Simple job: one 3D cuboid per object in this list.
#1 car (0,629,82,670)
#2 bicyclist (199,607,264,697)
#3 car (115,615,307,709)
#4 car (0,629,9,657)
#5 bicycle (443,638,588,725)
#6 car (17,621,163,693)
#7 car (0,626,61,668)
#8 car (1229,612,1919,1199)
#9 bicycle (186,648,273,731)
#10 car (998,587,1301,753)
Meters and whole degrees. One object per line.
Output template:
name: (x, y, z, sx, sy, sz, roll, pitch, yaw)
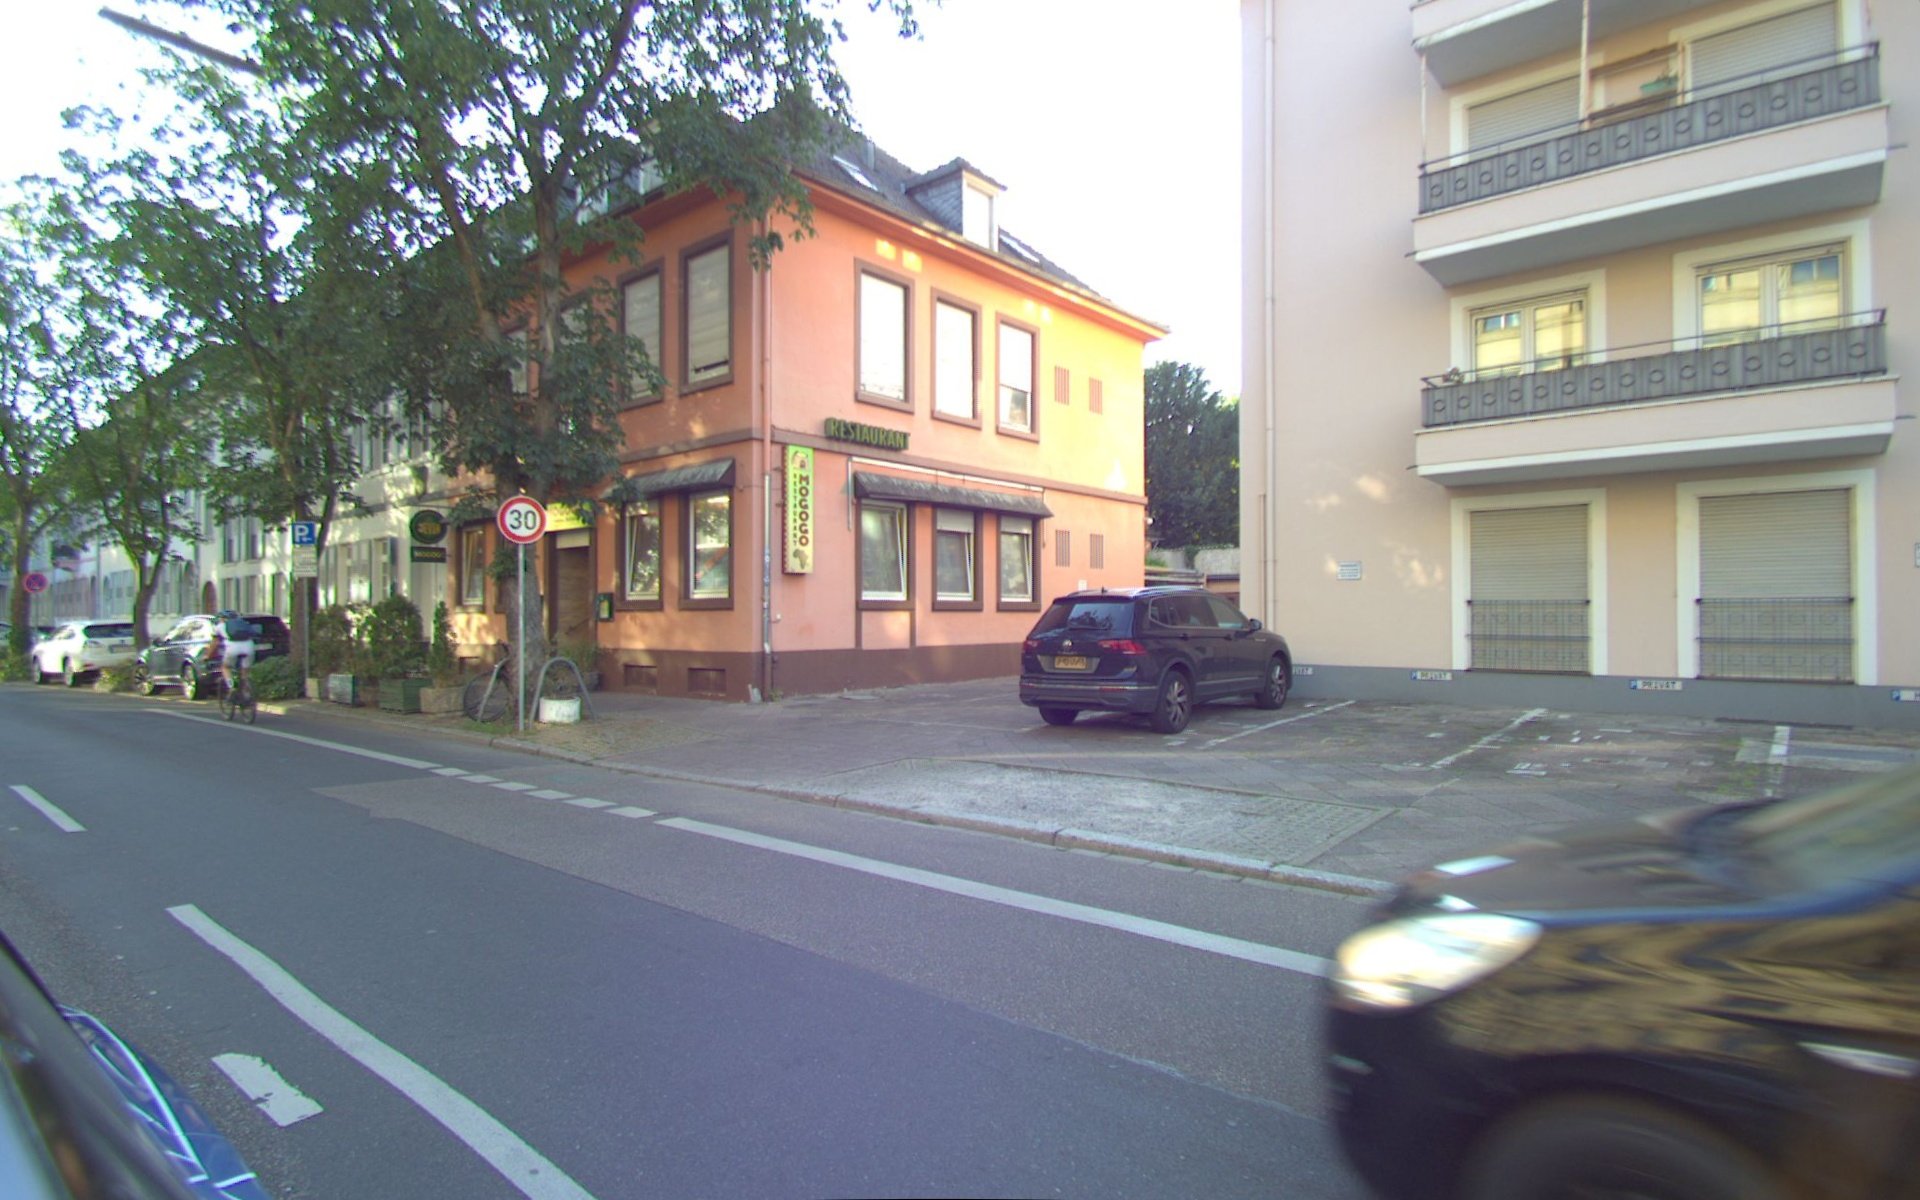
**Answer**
car: (-37.474, 1.939, 39.867, 1.801, 1.557, 4.172, -2, -2, 43)
bicyclist: (-11.594, 0.811, 16.112, 0.928, 1.374, 0.619, 0, -1, 40)
car: (-16.595, 1.290, 22.341, 5.036, 1.772, 1.813, -1, 2, 35)
car: (-53.312, 2.290, 53.509, 1.798, 1.519, 4.179, -1, -2, 38)
bicycle: (-6.283, 1.112, 14.397, 0.609, 1.112, 1.851, -1, -1, 34)
car: (-23.543, 1.485, 27.342, 4.645, 1.680, 1.813, -1, 2, 35)
car: (-39.743, 1.928, 41.418, 1.798, 1.703, 4.179, -1, -2, 38)
car: (2.599, 0.755, 1.640, 3.852, 1.483, 1.640, -3, -3, 42)
bicycle: (-11.683, 1.389, 16.167, 2.051, 1.164, 0.618, 0, 0, 40)
car: (2.548, 0.718, 12.745, 1.862, 1.678, 4.375, -2, 0, 39)
